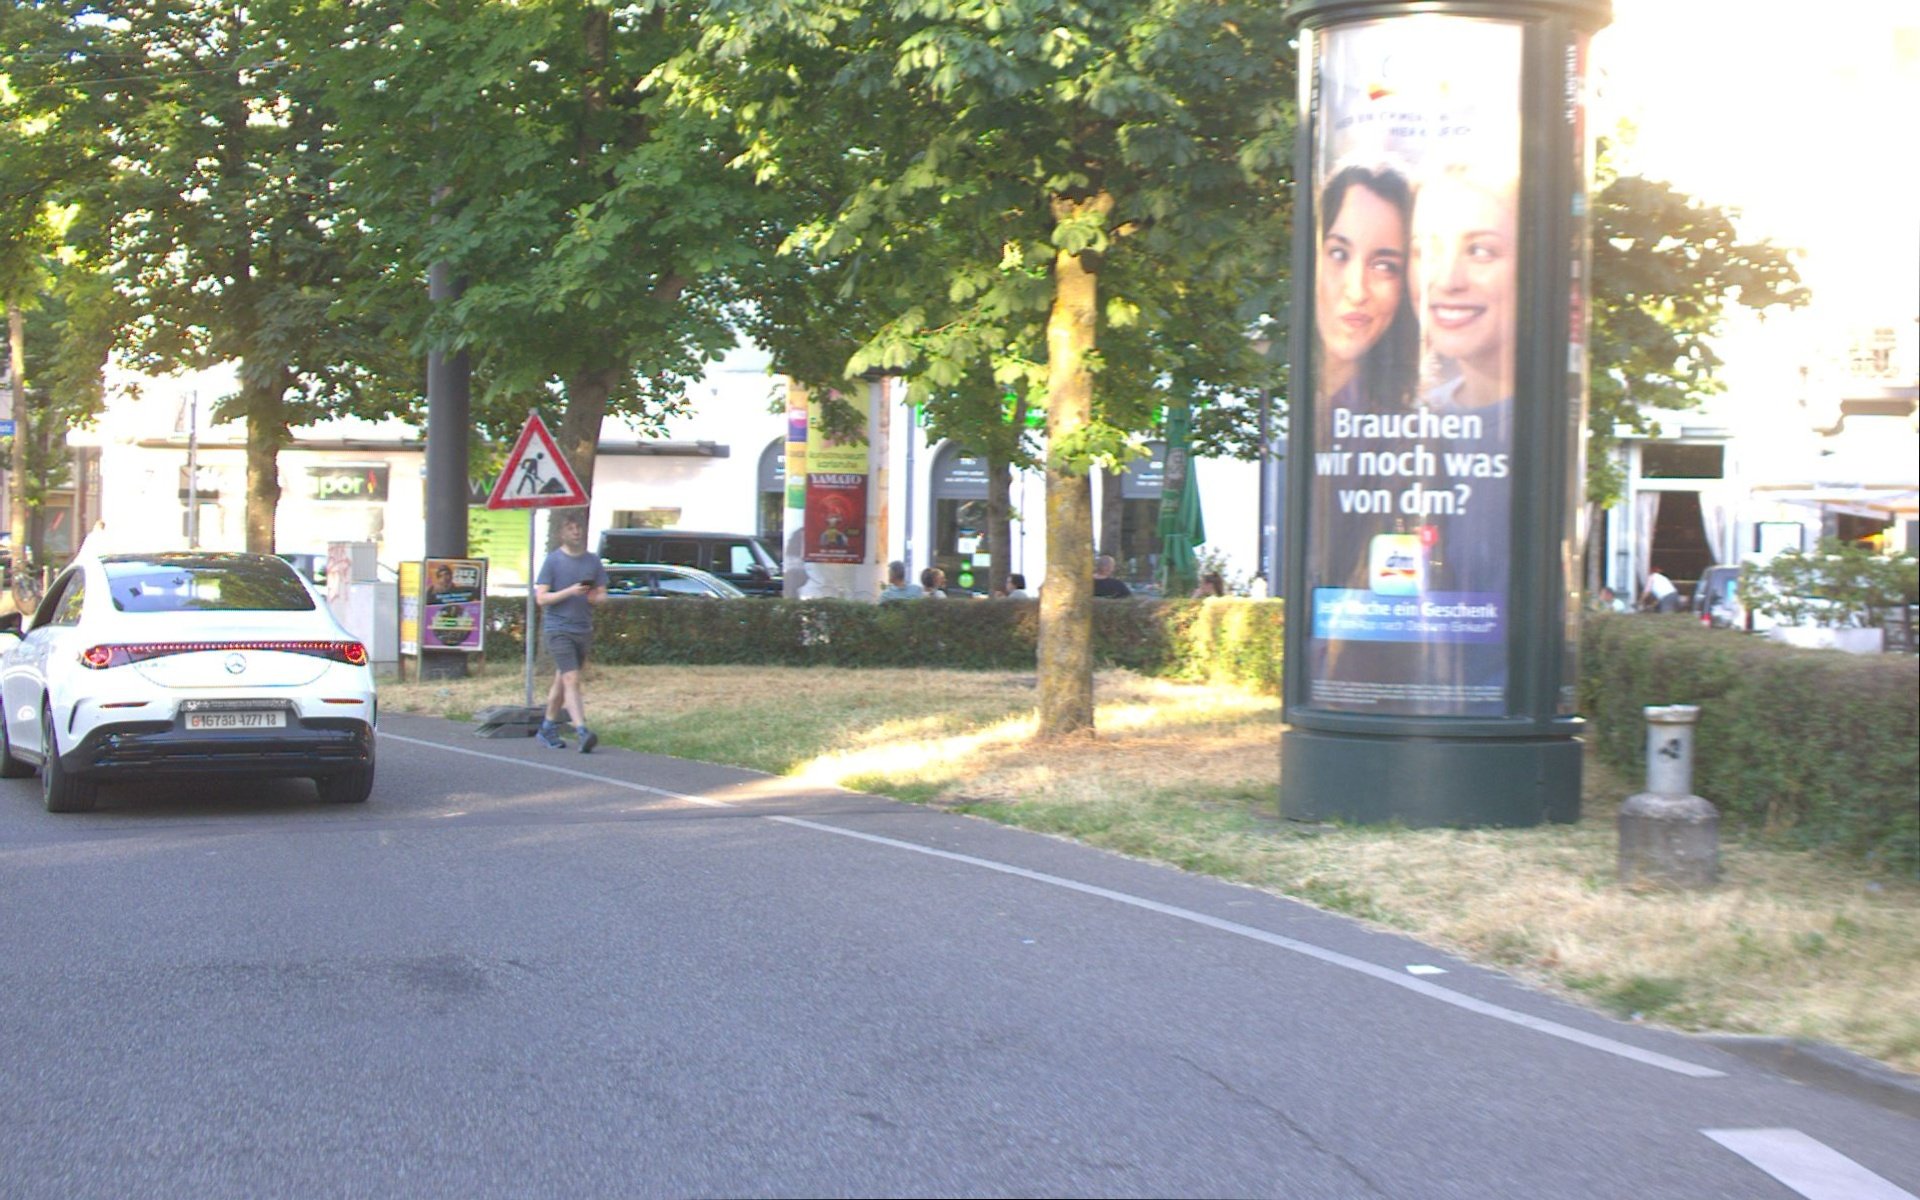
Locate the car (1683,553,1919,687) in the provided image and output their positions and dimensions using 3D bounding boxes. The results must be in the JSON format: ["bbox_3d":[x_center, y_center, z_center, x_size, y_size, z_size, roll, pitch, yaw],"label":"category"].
[{"bbox_3d":[13.642,0.312,53.444,4.498,1.957,2.023,2,0,7],"label":"car"}]

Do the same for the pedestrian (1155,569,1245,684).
[{"bbox_3d":[2.749,0.305,39.324,0.662,1.238,0.950,6,1,21],"label":"pedestrian"}]

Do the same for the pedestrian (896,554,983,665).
[{"bbox_3d":[-0.252,0.113,42.750,0.948,1.279,0.663,5,1,0],"label":"pedestrian"}]

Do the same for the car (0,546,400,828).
[{"bbox_3d":[-4.679,0.433,20.542,1.867,1.464,4.044,0,1,-21],"label":"car"}]

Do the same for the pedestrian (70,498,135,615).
[{"bbox_3d":[-15.080,-0.763,60.448,0.841,2.007,0.846,2,0,4],"label":"pedestrian"}]

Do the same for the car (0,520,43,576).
[{"bbox_3d":[-28.761,-1.542,101.059,1.962,1.634,3.999,2,1,9],"label":"car"}]

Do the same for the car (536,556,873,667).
[{"bbox_3d":[-3.736,0.150,50.630,4.659,1.508,1.738,1,1,7],"label":"car"}]

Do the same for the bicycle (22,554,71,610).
[{"bbox_3d":[-17.885,-0.346,67.330,0.354,1.073,1.699,2,0,5],"label":"bicycle"}]

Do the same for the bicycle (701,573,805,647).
[{"bbox_3d":[-2.670,0.126,44.421,0.554,0.926,1.527,1,0,31],"label":"bicycle"}]

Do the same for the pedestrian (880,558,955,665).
[{"bbox_3d":[-0.501,0.133,41.102,0.778,1.238,0.988,2,1,5],"label":"pedestrian"}]

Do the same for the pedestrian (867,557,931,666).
[{"bbox_3d":[-0.703,0.126,39.717,0.567,1.240,0.612,1,0,18],"label":"pedestrian"}]

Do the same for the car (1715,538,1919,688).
[{"bbox_3d":[12.951,0.195,48.276,4.423,2.007,1.999,2,0,9],"label":"car"}]

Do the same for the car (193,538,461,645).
[{"bbox_3d":[-9.451,-0.135,51.442,3.567,1.508,1.738,1,1,7],"label":"car"}]

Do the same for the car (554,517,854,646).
[{"bbox_3d":[-4.122,-0.305,55.677,4.498,1.957,2.023,1,1,7],"label":"car"}]

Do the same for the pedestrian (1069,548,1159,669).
[{"bbox_3d":[1.751,0.094,39.100,0.730,1.351,1.014,0,0,21],"label":"pedestrian"}]

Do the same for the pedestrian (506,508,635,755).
[{"bbox_3d":[-2.802,0.220,24.718,0.588,1.737,0.641,3,1,44],"label":"pedestrian"}]
